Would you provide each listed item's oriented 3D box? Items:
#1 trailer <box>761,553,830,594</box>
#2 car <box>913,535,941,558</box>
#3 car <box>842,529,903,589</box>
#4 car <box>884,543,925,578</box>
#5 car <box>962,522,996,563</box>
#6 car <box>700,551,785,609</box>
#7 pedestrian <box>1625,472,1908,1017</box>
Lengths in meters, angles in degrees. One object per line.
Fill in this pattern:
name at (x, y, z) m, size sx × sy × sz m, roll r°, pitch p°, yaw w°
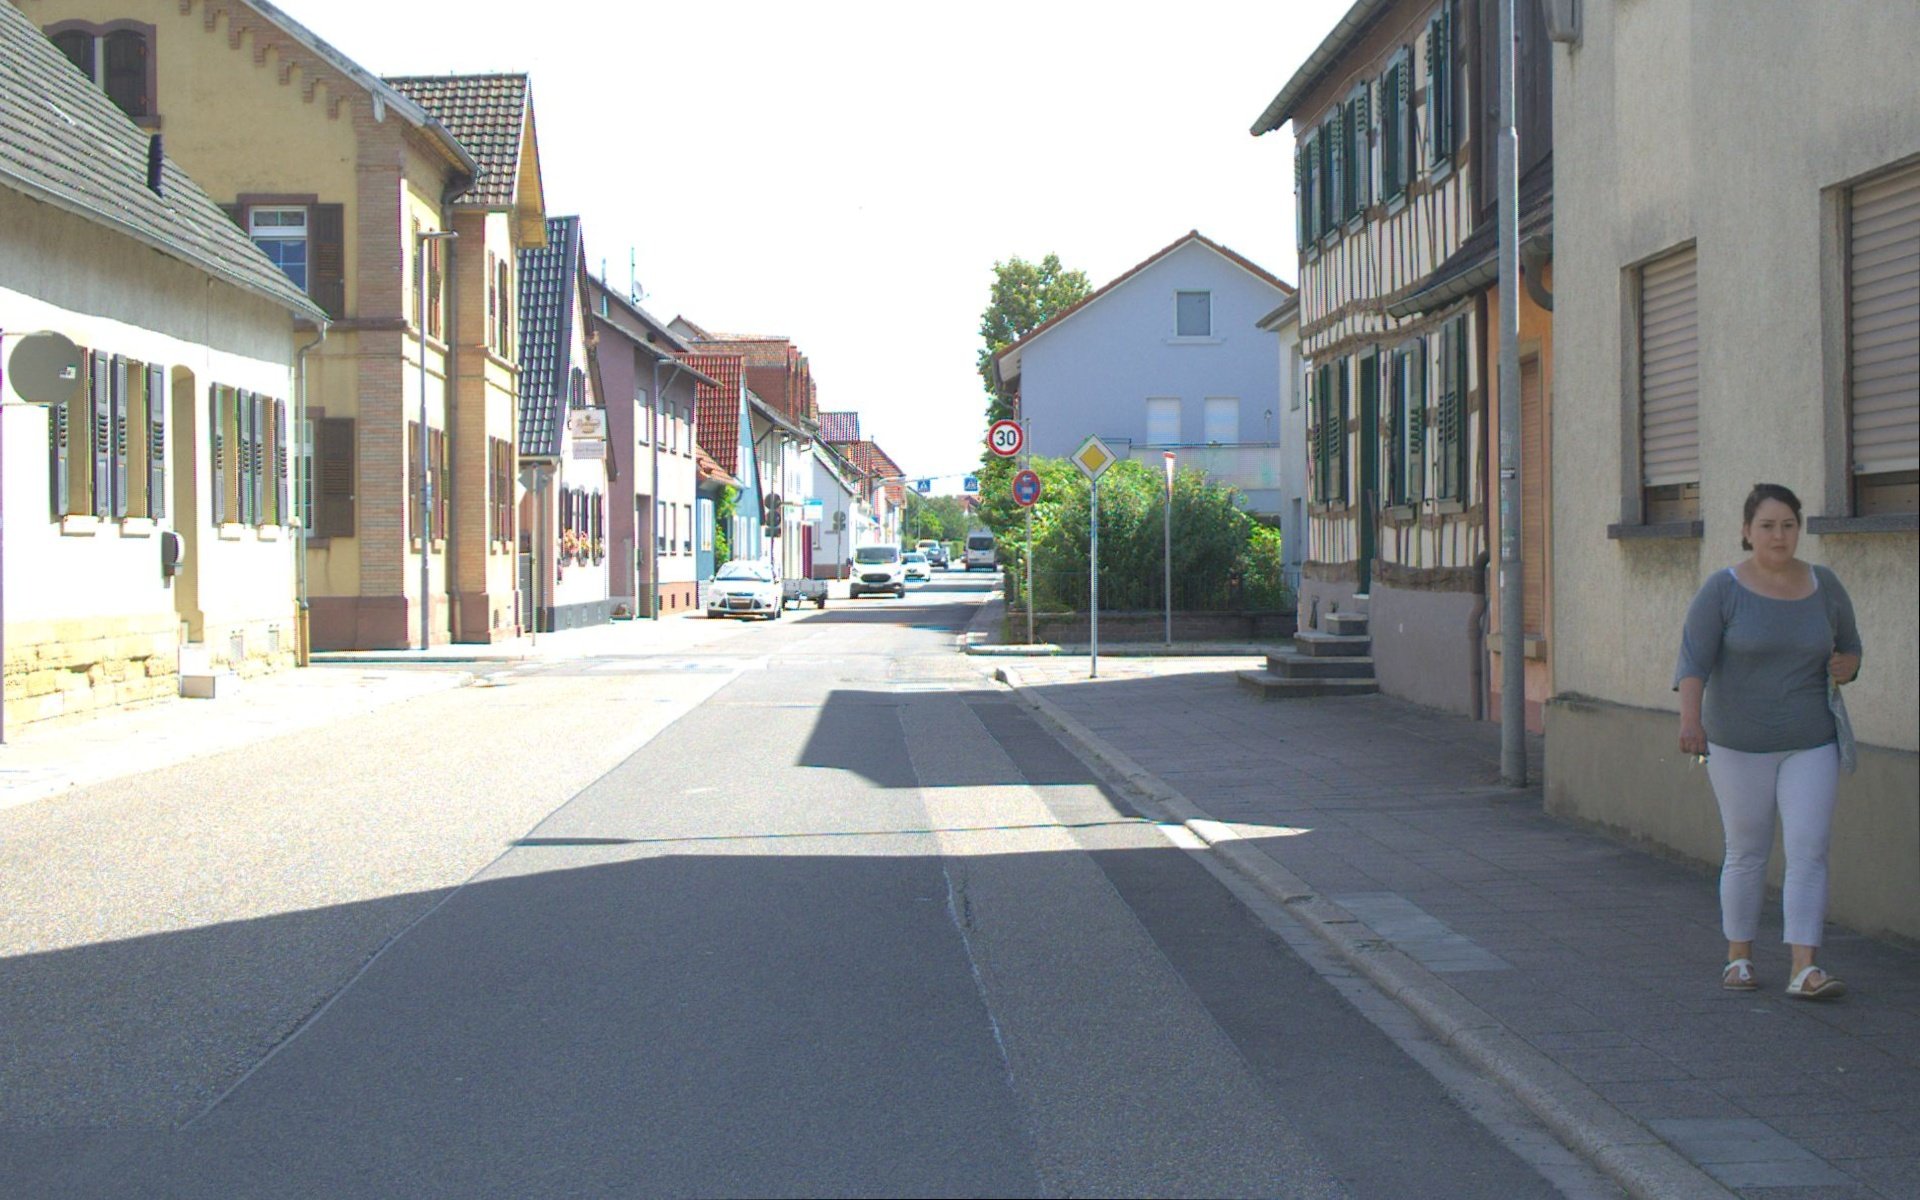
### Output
trailer at (-5.065, -0.828, 106.461) m, size 1.993 × 1.086 × 4.001 m, roll -4°, pitch 1°, yaw -2°
car at (-2.261, -3.687, 236.938) m, size 1.867 × 1.539 × 3.838 m, roll -1°, pitch 1°, yaw -1°
car at (-3.242, -1.488, 126.420) m, size 2.158 × 2.073 × 4.000 m, roll -1°, pitch -1°, yaw -2°
car at (-2.750, -1.974, 171.720) m, size 1.993 × 1.744 × 4.000 m, roll 0°, pitch 1°, yaw 0°
car at (1.207, -3.638, 217.296) m, size 2.017 × 2.559 × 4.000 m, roll -1°, pitch 1°, yaw -1°
car at (-5.661, -0.538, 89.768) m, size 1.993 × 1.437 × 4.000 m, roll -1°, pitch 1°, yaw -1°
pedestrian at (2.543, 0.431, 10.921) m, size 0.719 × 1.658 × 0.892 m, roll 0°, pitch 1°, yaw 2°
